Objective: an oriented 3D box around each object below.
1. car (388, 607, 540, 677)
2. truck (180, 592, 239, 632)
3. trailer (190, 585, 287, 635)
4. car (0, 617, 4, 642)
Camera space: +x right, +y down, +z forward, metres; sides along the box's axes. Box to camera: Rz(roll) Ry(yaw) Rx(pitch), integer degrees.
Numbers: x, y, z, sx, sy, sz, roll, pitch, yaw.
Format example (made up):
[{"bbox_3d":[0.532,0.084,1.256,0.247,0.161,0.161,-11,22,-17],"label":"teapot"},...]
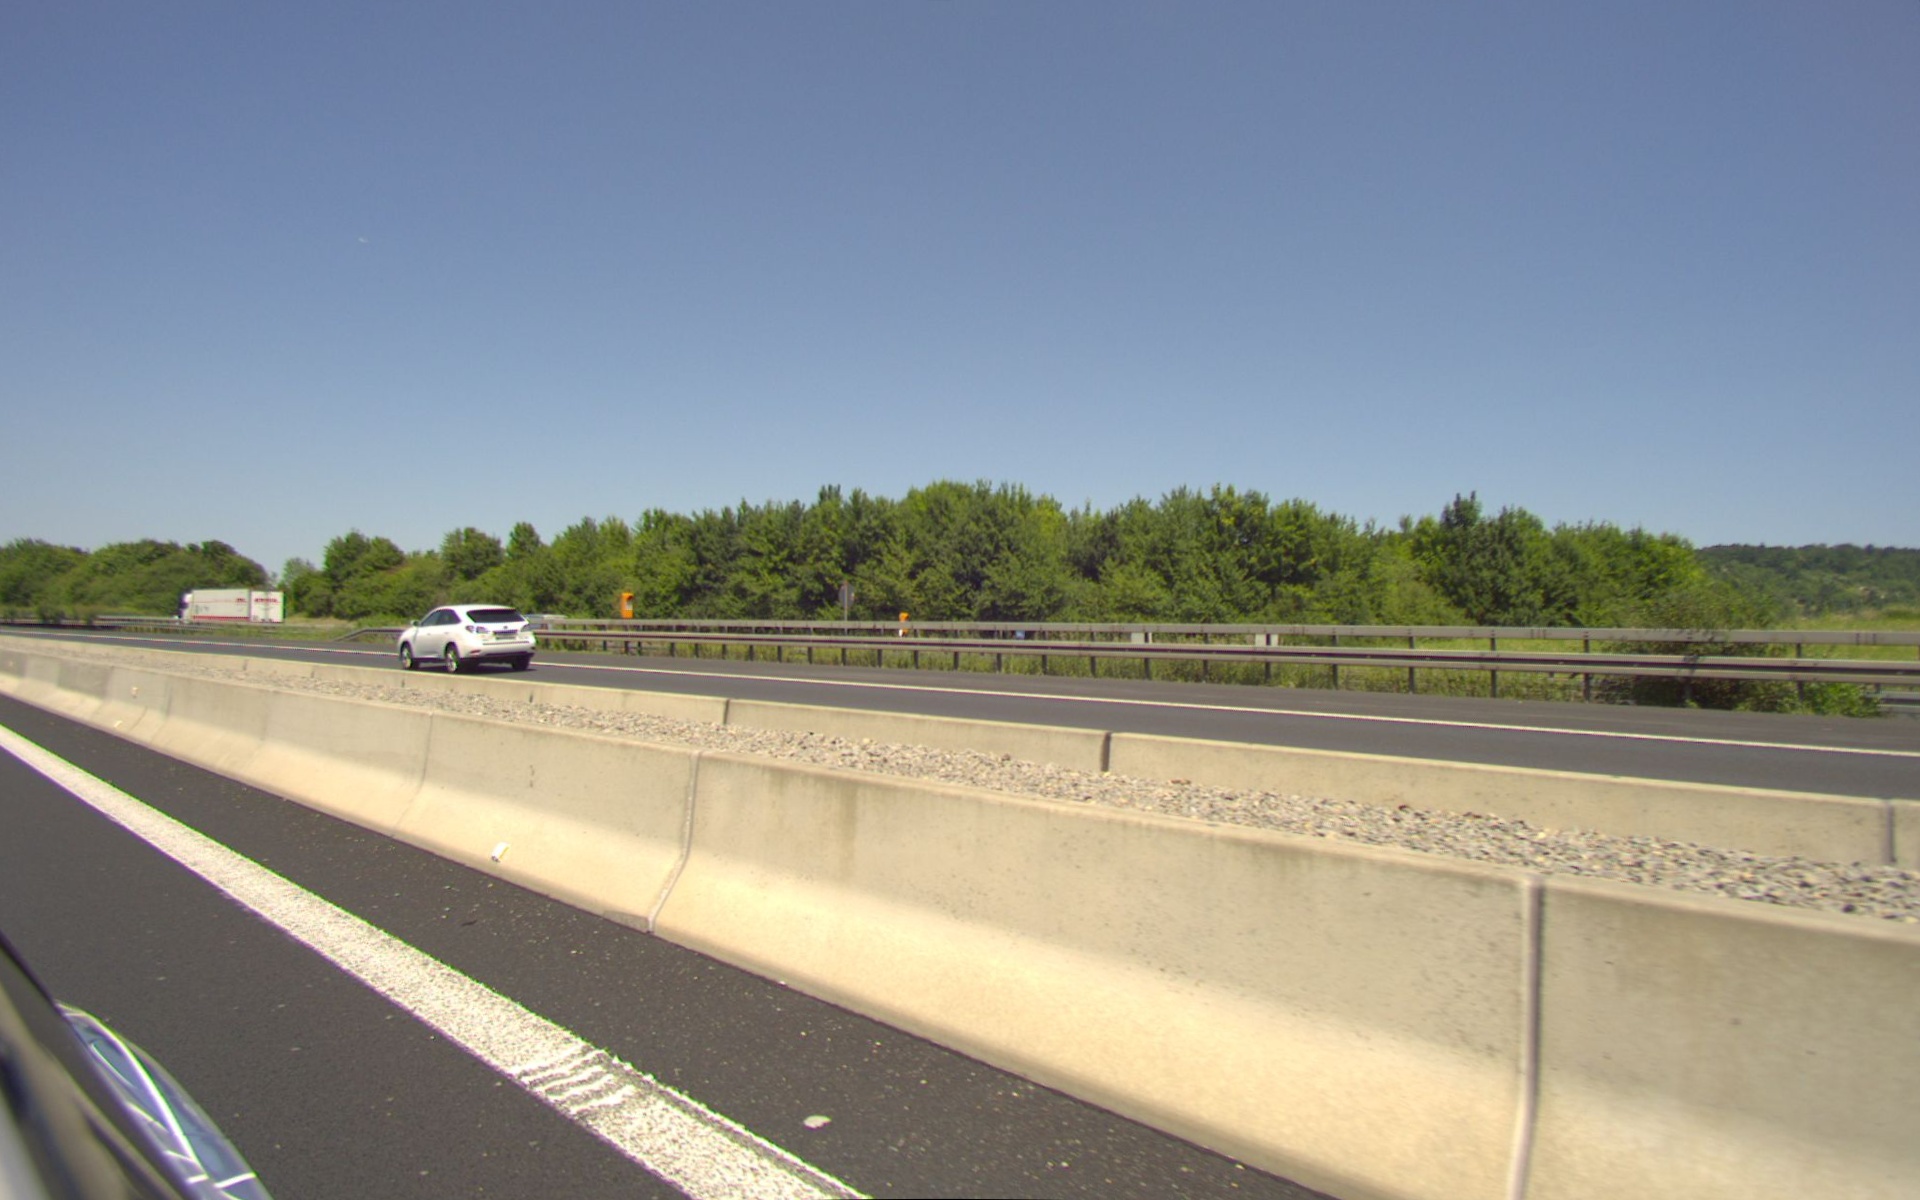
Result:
[{"bbox_3d":[-12.902,1.014,26.162,4.927,1.644,1.769,-1,-1,41],"label":"car"},{"bbox_3d":[-68.634,1.078,92.509,5.402,3.530,3.054,0,-1,38],"label":"truck"},{"bbox_3d":[-63.130,0.831,88.323,14.065,4.027,3.078,0,-1,38],"label":"trailer"},{"bbox_3d":[-74.122,2.234,76.636,4.901,1.838,1.973,0,-1,40],"label":"car"}]
